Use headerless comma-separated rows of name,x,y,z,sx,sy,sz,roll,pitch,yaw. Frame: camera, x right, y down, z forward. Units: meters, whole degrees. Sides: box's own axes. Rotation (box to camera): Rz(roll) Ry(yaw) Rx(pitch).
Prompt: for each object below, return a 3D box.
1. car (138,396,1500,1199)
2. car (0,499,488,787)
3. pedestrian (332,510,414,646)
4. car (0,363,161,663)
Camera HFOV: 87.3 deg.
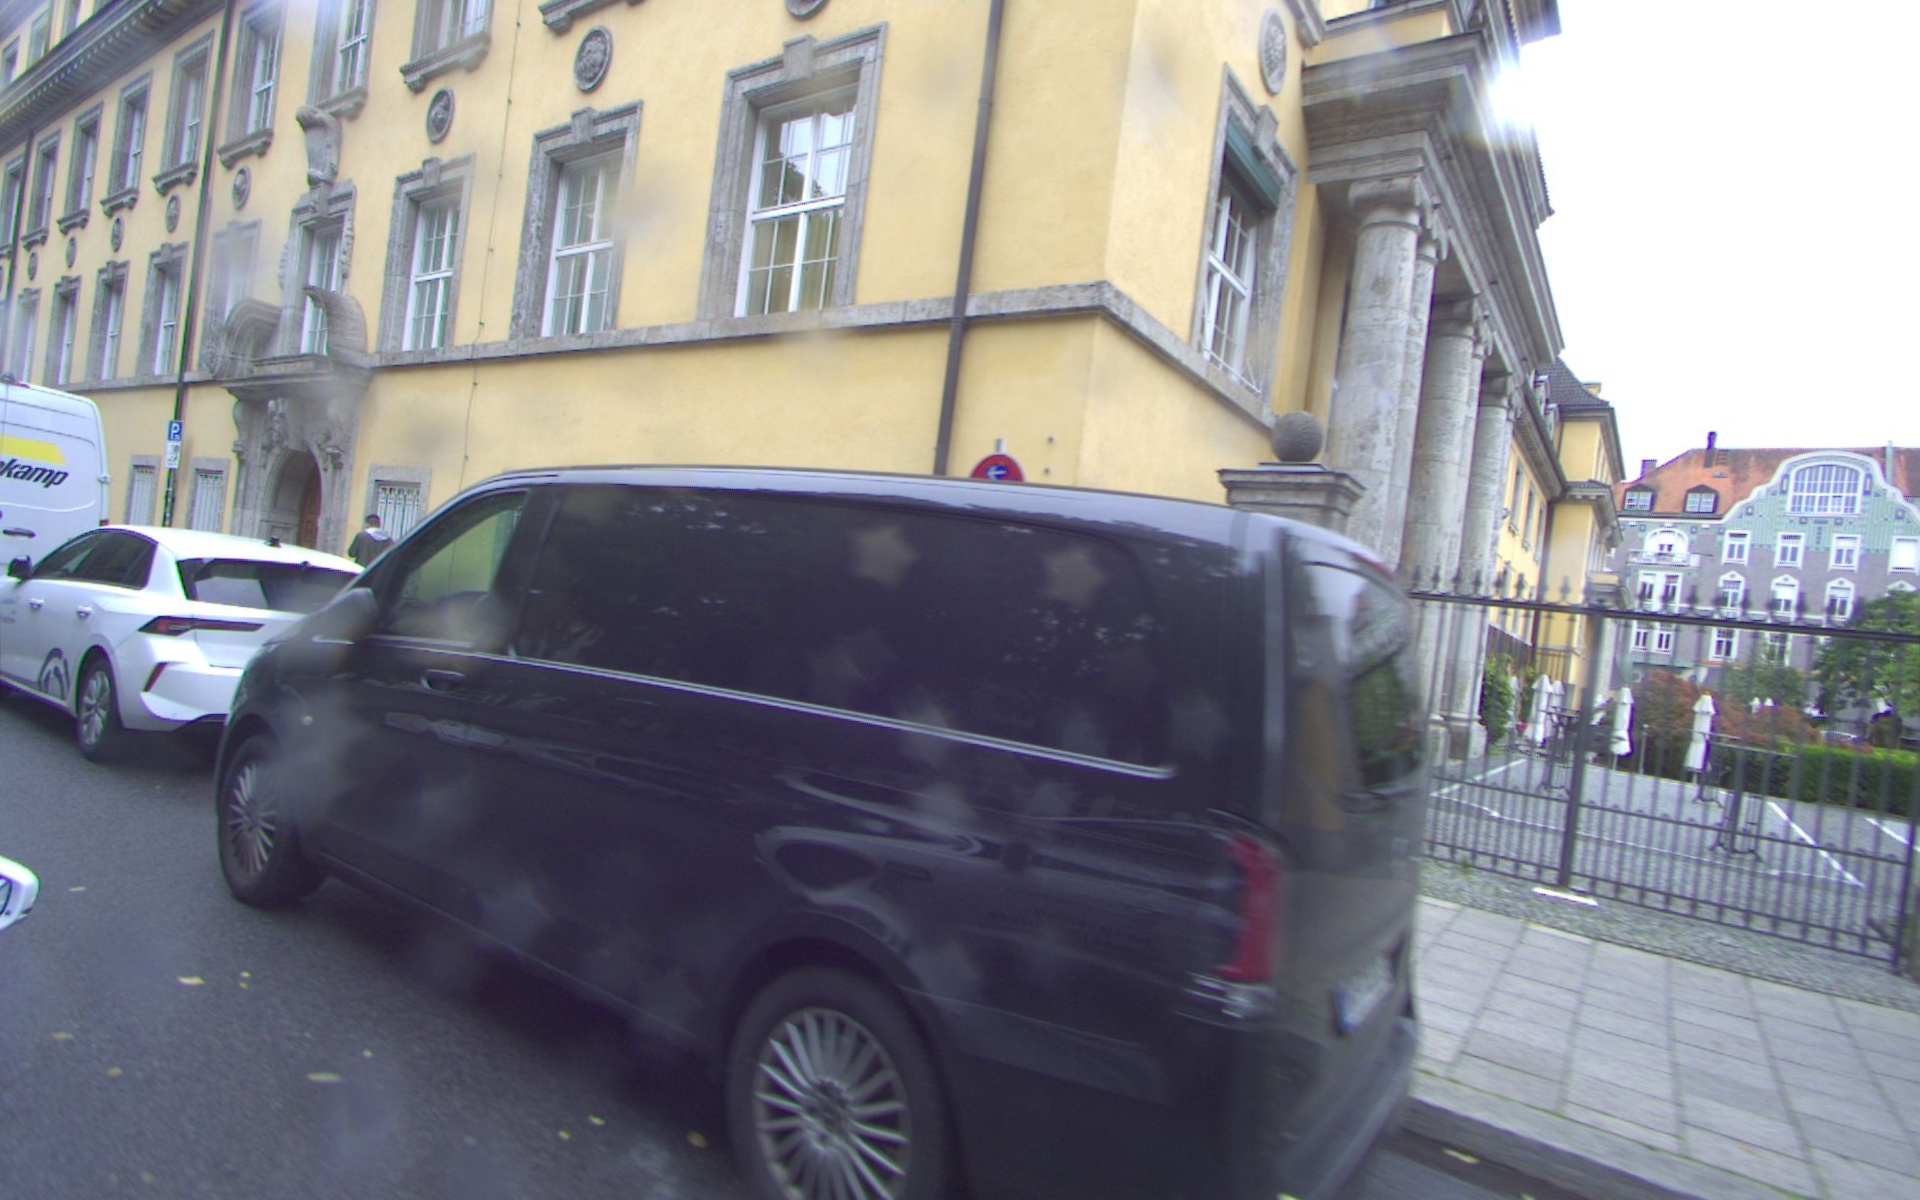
car,-0.922,0.476,3.776,4.906,1.891,1.872,6,-1,34
car,-5.611,0.180,7.407,4.187,1.475,1.872,6,-1,34
pedestrian,-8.216,-0.297,14.092,0.573,1.827,0.700,6,1,34
car,-11.887,-1.124,11.407,7.492,2.705,2.056,6,-1,34
